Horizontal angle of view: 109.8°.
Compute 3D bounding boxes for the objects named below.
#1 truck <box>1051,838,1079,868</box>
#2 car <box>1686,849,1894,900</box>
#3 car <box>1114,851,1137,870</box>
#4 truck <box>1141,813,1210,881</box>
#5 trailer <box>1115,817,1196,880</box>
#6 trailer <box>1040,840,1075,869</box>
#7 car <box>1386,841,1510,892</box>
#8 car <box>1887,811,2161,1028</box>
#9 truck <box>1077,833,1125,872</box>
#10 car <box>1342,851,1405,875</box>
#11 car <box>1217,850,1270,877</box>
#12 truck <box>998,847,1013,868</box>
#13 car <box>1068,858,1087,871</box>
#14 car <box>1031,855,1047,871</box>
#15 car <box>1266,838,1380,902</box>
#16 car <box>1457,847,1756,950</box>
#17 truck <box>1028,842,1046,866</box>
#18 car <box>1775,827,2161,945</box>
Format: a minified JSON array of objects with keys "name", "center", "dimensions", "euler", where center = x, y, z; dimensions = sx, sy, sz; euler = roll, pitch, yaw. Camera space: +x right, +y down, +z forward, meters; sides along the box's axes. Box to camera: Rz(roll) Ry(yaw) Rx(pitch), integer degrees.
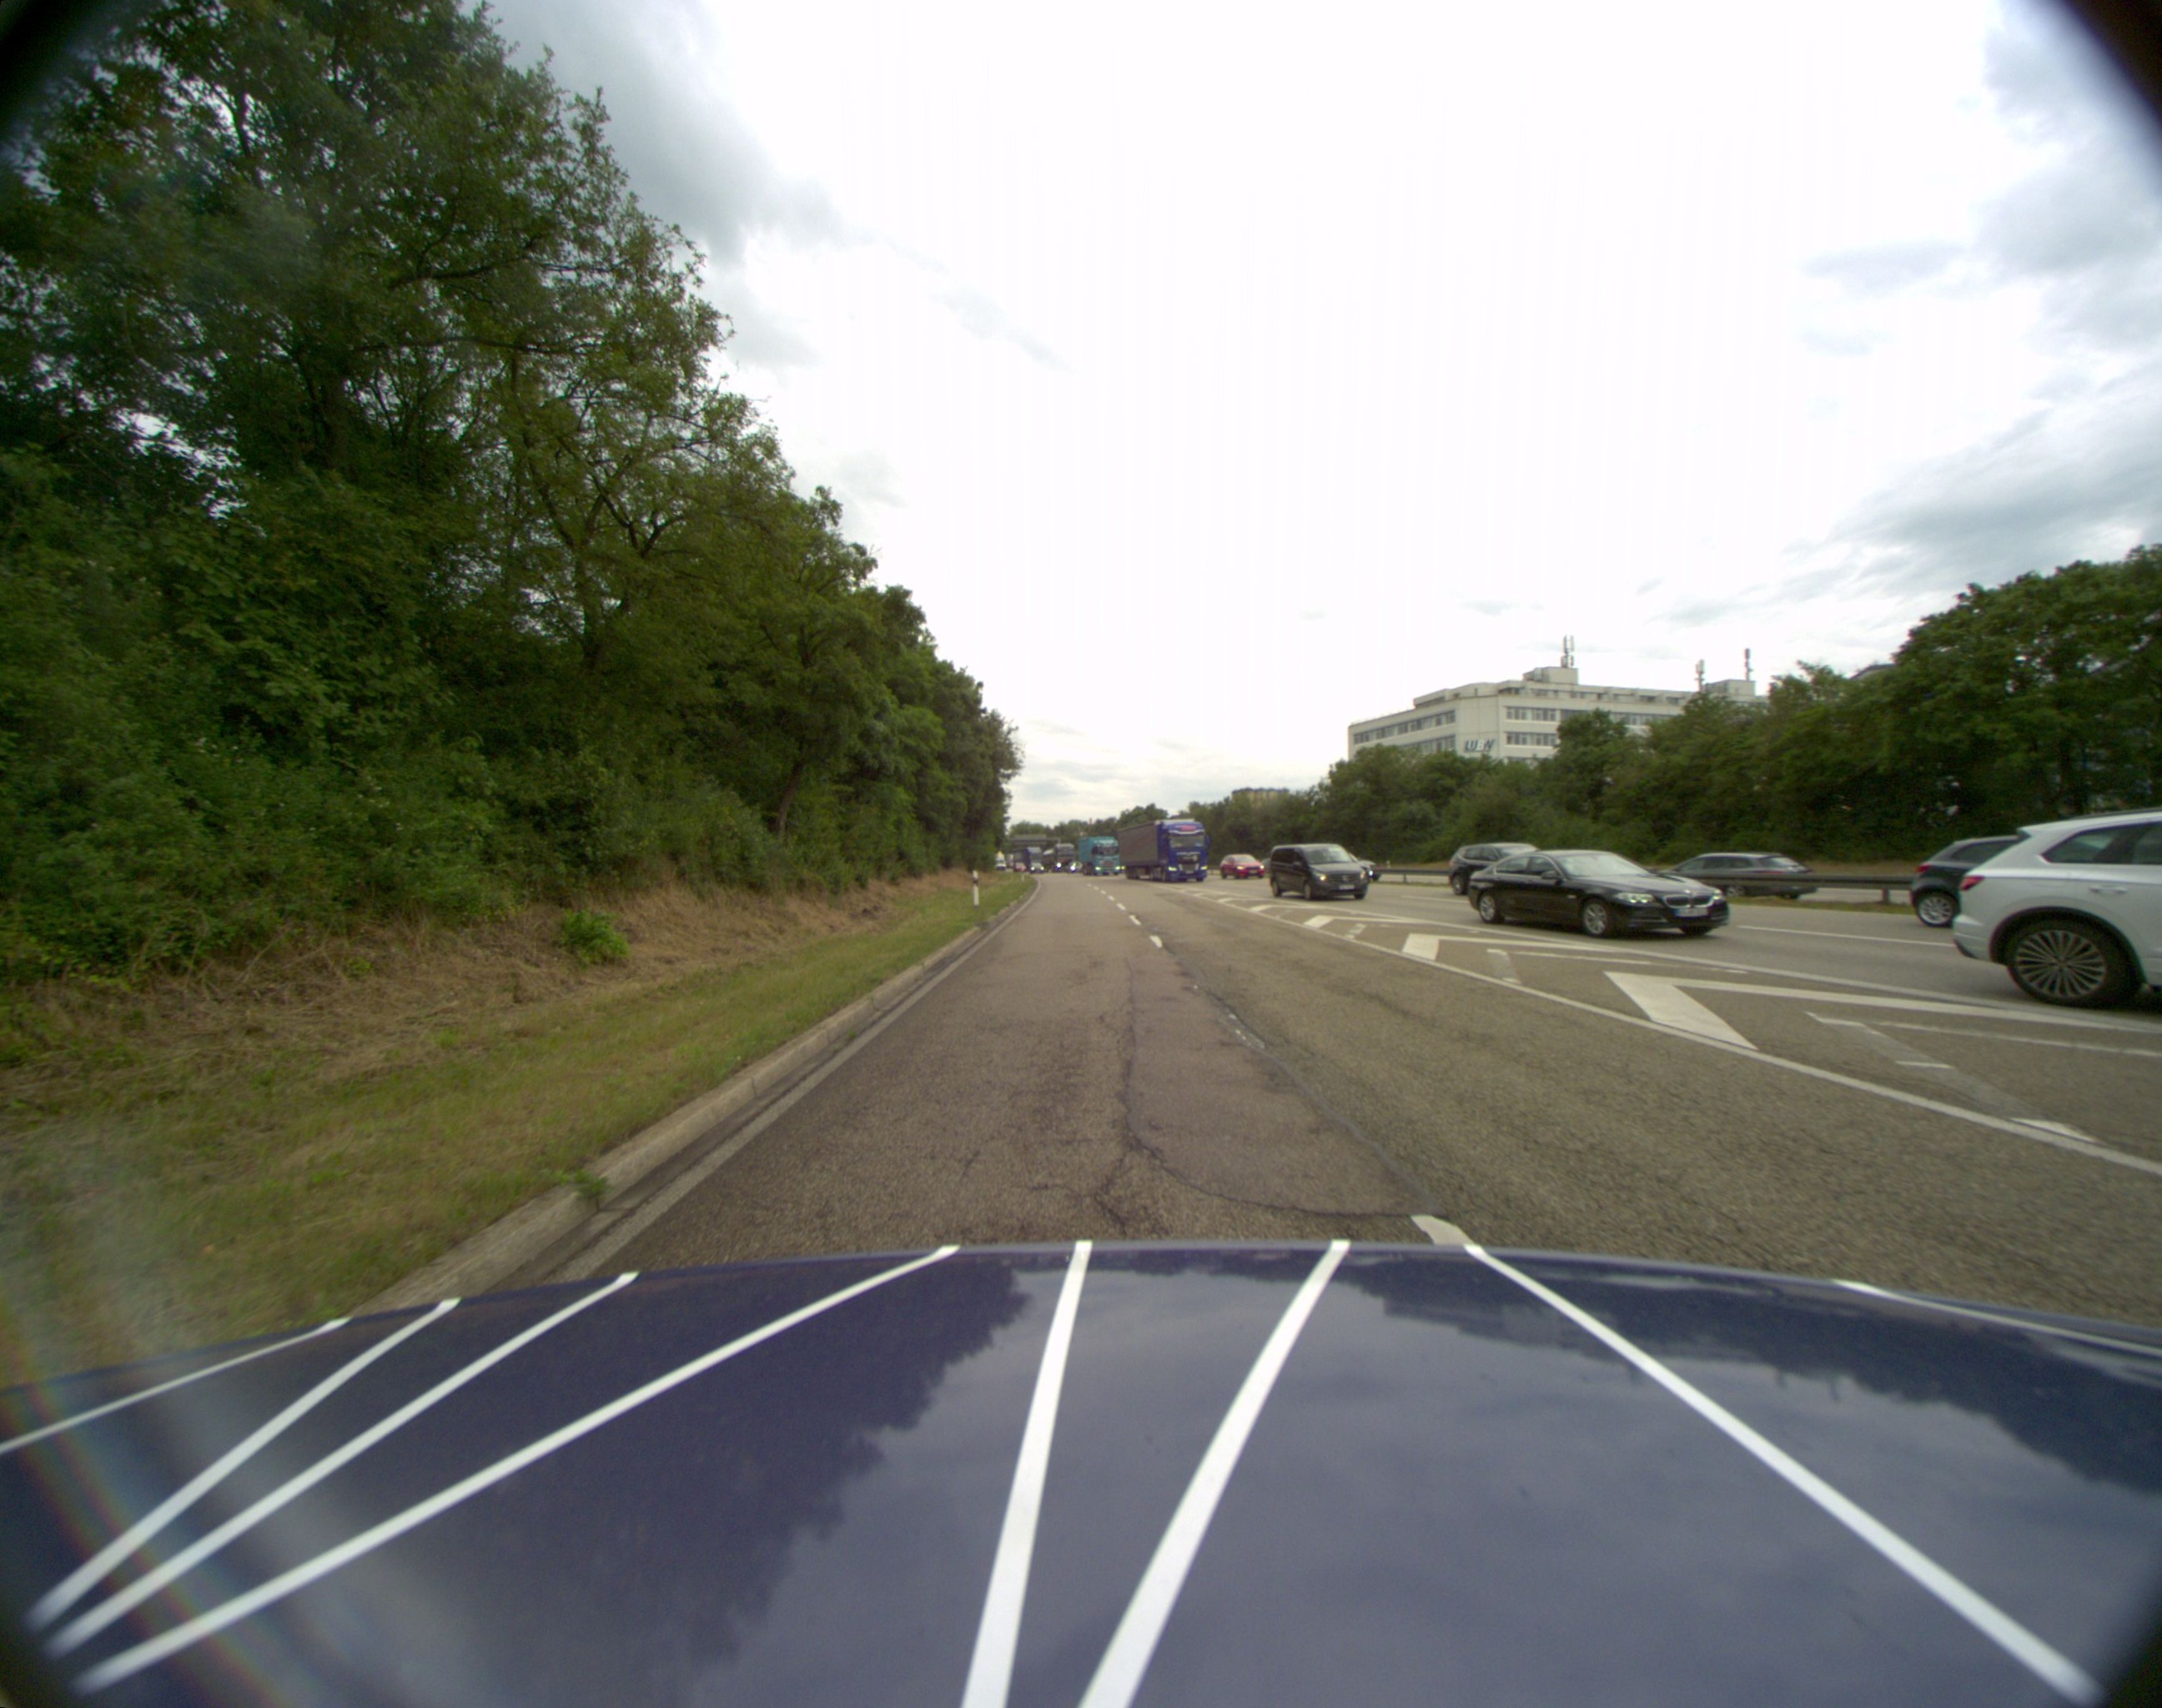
[{"name":"truck","center":[-2.284,-0.090,104.949],"dimensions":[2.692,3.884,6.929],"euler":[-1,0,-10]},{"name":"car","center":[19.482,0.527,21.166],"dimensions":[1.828,1.225,4.077],"euler":[-2,0,-4]},{"name":"car","center":[4.976,0.751,84.897],"dimensions":[1.674,2.002,3.997],"euler":[-2,0,-9]},{"name":"truck","center":[6.019,-0.438,49.594],"dimensions":[2.569,4.019,6.583],"euler":[-3,1,-9]},{"name":"trailer","center":[5.165,-0.419,56.301],"dimensions":[2.635,3.999,13.452],"euler":[-3,1,-9]},{"name":"trailer","center":[-3.564,0.162,111.721],"dimensions":[2.847,4.012,13.074],"euler":[-2,0,-11]},{"name":"car","center":[12.885,0.412,27.066],"dimensions":[1.866,1.604,4.649],"euler":[-2,0,-4]},{"name":"car","center":[9.202,0.471,4.976],"dimensions":[1.916,1.650,5.378],"euler":[-2,0,-4]},{"name":"truck","center":[1.879,-0.099,79.154],"dimensions":[2.939,3.774,11.321],"euler":[-1,0,-9]},{"name":"car","center":[17.876,0.609,46.630],"dimensions":[1.999,1.399,3.999],"euler":[0,-2,-5]},{"name":"car","center":[10.761,0.618,50.734],"dimensions":[1.999,1.609,4.785],"euler":[-2,0,-6]},{"name":"truck","center":[-14.560,0.675,146.629],"dimensions":[2.255,3.949,6.623],"euler":[-2,0,-9]},{"name":"car","center":[-0.483,1.264,91.642],"dimensions":[1.753,1.413,3.661],"euler":[-2,0,-9]},{"name":"car","center":[-5.592,1.177,99.902],"dimensions":[1.765,2.002,3.998],"euler":[-2,0,-7]},{"name":"car","center":[8.199,0.517,26.342],"dimensions":[1.999,1.894,5.078],"euler":[-3,0,-3]},{"name":"car","center":[9.085,0.642,13.805],"dimensions":[1.852,1.451,4.829],"euler":[-3,1,-3]},{"name":"truck","center":[-7.493,0.058,128.398],"dimensions":[2.547,3.950,6.470],"euler":[-2,0,-8]},{"name":"car","center":[14.379,0.460,12.706],"dimensions":[1.650,1.602,3.998],"euler":[-2,0,-6]}]
